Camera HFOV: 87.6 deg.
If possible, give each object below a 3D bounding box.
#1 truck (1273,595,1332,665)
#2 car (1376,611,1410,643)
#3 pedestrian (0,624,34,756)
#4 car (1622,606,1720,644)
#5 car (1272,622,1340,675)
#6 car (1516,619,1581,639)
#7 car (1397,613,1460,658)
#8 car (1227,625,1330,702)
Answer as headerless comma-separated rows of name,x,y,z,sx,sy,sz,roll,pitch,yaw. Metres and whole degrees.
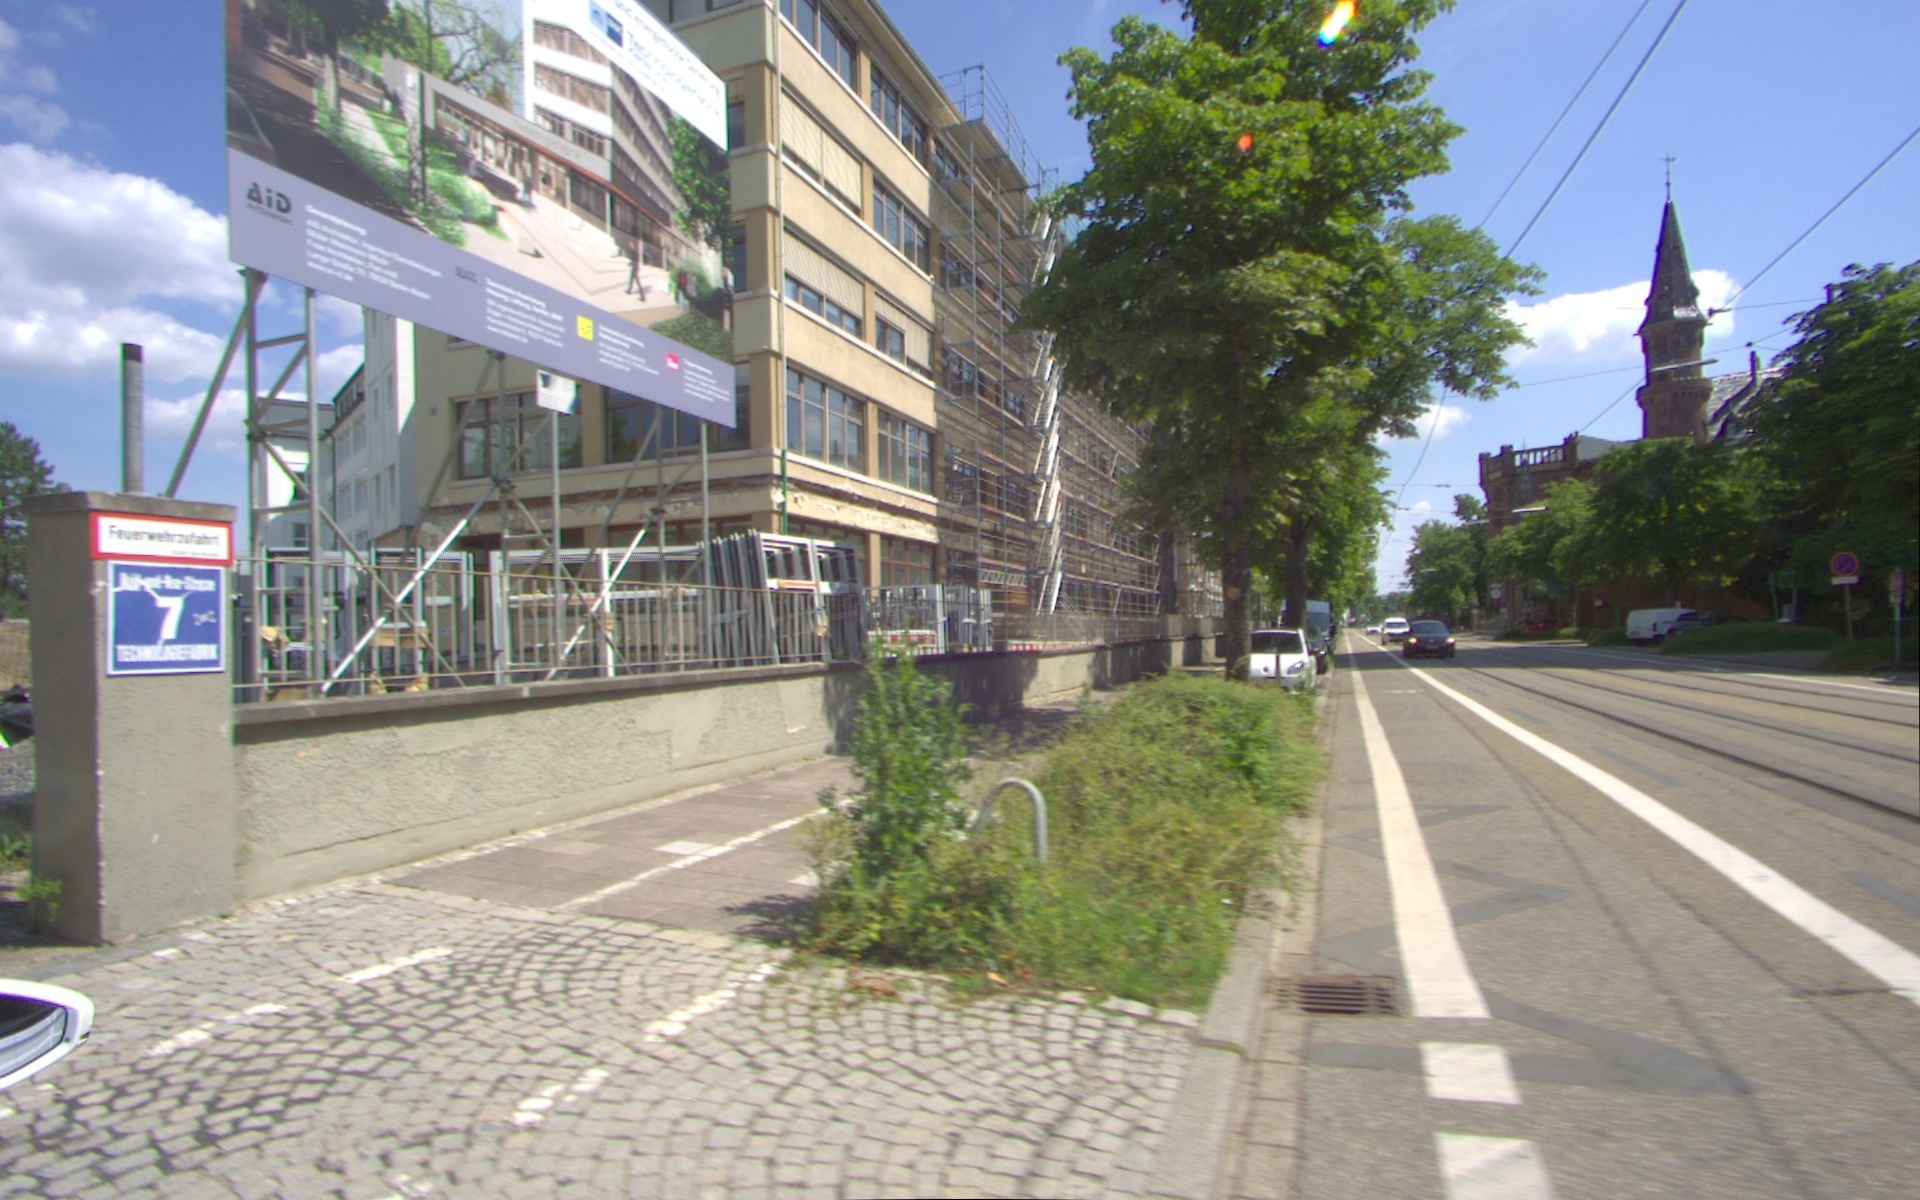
truck,13.340,1.185,39.177,1.991,2.517,5.864,-1,-2,18
car,28.780,1.767,66.598,1.966,2.039,3.991,-1,-1,22
pedestrian,-13.899,1.273,14.177,0.858,1.843,0.963,-1,-1,31
car,34.564,1.209,48.720,3.929,1.817,1.832,0,-1,-16
car,11.202,1.534,32.576,1.964,1.627,3.994,0,-1,18
car,46.327,2.275,78.892,3.922,1.505,2.001,-1,-1,0
car,19.245,1.465,41.297,1.966,1.710,3.993,-3,-2,20
car,6.738,1.271,20.995,1.596,1.458,3.572,-1,-2,25
